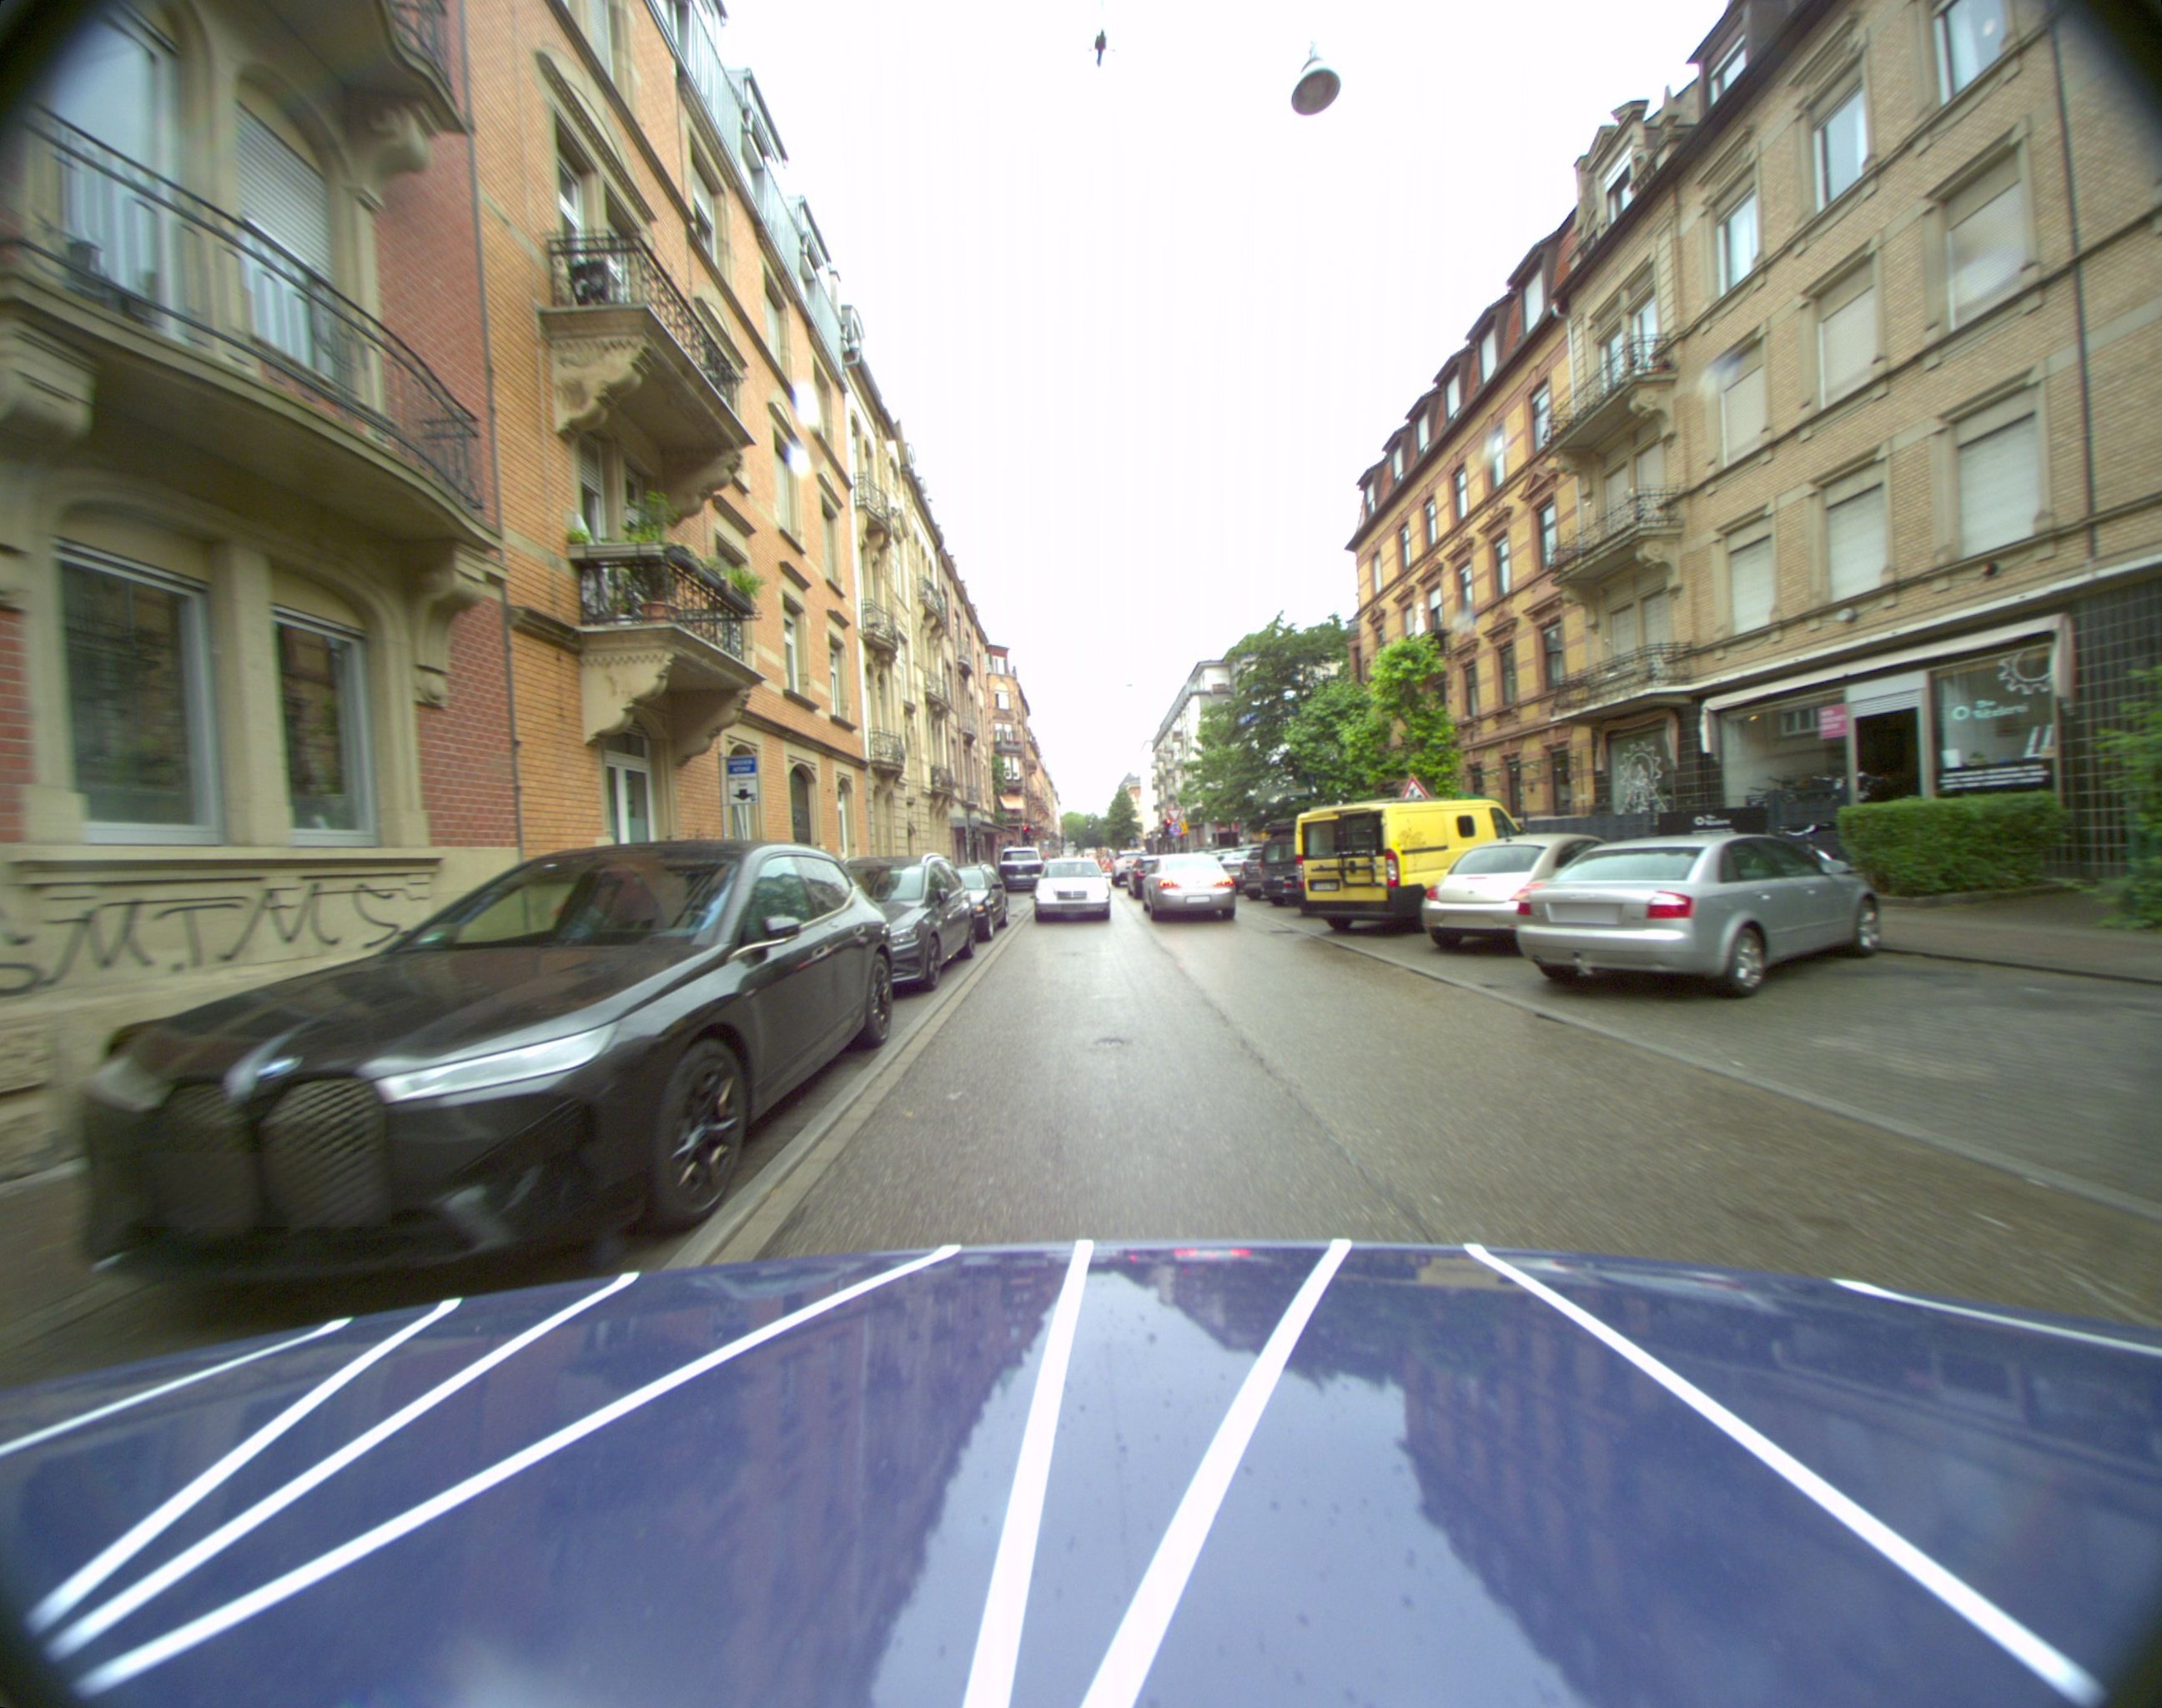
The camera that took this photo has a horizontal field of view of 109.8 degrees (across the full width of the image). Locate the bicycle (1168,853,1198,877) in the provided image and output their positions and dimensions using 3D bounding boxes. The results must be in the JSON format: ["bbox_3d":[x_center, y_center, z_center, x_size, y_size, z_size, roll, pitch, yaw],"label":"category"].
[{"bbox_3d":[5.151,0.541,38.368,0.588,1.137,1.678,-5,1,-28],"label":"bicycle"}]

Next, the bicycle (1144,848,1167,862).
[{"bbox_3d":[7.234,0.117,73.747,2.021,1.188,0.551,-6,1,6],"label":"bicycle"}]

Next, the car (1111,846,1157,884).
[{"bbox_3d":[2.444,0.469,35.961,1.863,1.650,5.008,-1,0,1],"label":"car"}]

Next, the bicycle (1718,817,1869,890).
[{"bbox_3d":[12.405,-0.015,13.255,2.043,1.168,0.631,-2,1,-2],"label":"bicycle"}]

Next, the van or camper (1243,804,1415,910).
[{"bbox_3d":[6.487,0.013,19.729,4.089,2.227,1.932,-7,3,-32],"label":"van or camper"}]

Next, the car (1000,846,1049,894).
[{"bbox_3d":[-2.489,0.648,34.688,1.999,1.928,5.228,-2,1,-2],"label":"car"}]

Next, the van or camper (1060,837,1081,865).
[{"bbox_3d":[-1.332,-0.419,96.831,2.411,3.308,7.072,-4,0,-1],"label":"van or camper"}]

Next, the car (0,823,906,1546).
[{"bbox_3d":[-2.564,0.827,4.311,1.999,1.769,4.825,-2,1,-1],"label":"car"}]

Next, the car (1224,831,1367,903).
[{"bbox_3d":[6.396,0.335,22.460,4.144,1.653,1.797,-7,3,-36],"label":"car"}]

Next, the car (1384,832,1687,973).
[{"bbox_3d":[6.418,0.554,10.677,3.924,1.486,1.959,-4,1,-30],"label":"car"}]

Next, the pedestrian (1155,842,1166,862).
[{"bbox_3d":[7.352,-0.183,69.903,0.862,1.837,0.770,-4,1,9],"label":"pedestrian"}]

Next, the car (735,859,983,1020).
[{"bbox_3d":[-2.576,0.898,10.038,1.876,1.552,4.344,-2,0,1],"label":"car"}]

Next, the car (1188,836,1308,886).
[{"bbox_3d":[6.903,0.264,31.271,4.731,1.554,1.996,-6,0,-34],"label":"car"}]

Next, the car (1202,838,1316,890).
[{"bbox_3d":[6.741,0.335,28.642,4.143,1.486,1.797,-7,3,-35],"label":"car"}]

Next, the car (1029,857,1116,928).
[{"bbox_3d":[-0.094,0.859,19.193,1.859,1.391,4.980,-3,1,2],"label":"car"}]

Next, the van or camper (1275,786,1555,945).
[{"bbox_3d":[6.090,0.118,13.719,4.733,2.255,2.180,-6,0,-32],"label":"van or camper"}]

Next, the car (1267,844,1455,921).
[{"bbox_3d":[6.279,0.565,16.954,4.006,1.486,1.823,-1,0,-32],"label":"car"}]

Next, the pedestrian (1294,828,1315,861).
[{"bbox_3d":[14.248,-0.616,48.364,0.942,2.002,0.865,-3,1,35],"label":"pedestrian"}]

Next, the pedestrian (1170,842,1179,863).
[{"bbox_3d":[8.435,-0.131,68.615,0.604,1.837,0.770,-4,1,9],"label":"pedestrian"}]

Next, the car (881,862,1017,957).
[{"bbox_3d":[-2.450,0.985,15.266,1.791,1.458,4.483,-3,0,1],"label":"car"}]

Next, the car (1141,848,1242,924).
[{"bbox_3d":[2.483,0.692,18.147,1.799,1.485,4.584,-3,-1,2],"label":"car"}]

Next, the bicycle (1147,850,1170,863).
[{"bbox_3d":[7.155,0.225,69.825,1.896,1.028,0.661,-6,0,-14],"label":"bicycle"}]

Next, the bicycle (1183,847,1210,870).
[{"bbox_3d":[5.827,0.232,38.329,0.400,1.137,1.679,-5,1,-25],"label":"bicycle"}]

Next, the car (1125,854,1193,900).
[{"bbox_3d":[2.628,0.749,26.461,1.800,1.485,4.138,0,0,-2],"label":"car"}]

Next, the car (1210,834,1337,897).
[{"bbox_3d":[6.529,0.352,25.621,4.144,1.653,1.797,-7,2,-36],"label":"car"}]

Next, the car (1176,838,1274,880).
[{"bbox_3d":[6.879,0.194,36.090,4.464,1.555,1.995,-6,3,-36],"label":"car"}]

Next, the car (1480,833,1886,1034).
[{"bbox_3d":[6.215,0.622,7.779,4.005,1.427,1.780,-4,1,-28],"label":"car"}]
